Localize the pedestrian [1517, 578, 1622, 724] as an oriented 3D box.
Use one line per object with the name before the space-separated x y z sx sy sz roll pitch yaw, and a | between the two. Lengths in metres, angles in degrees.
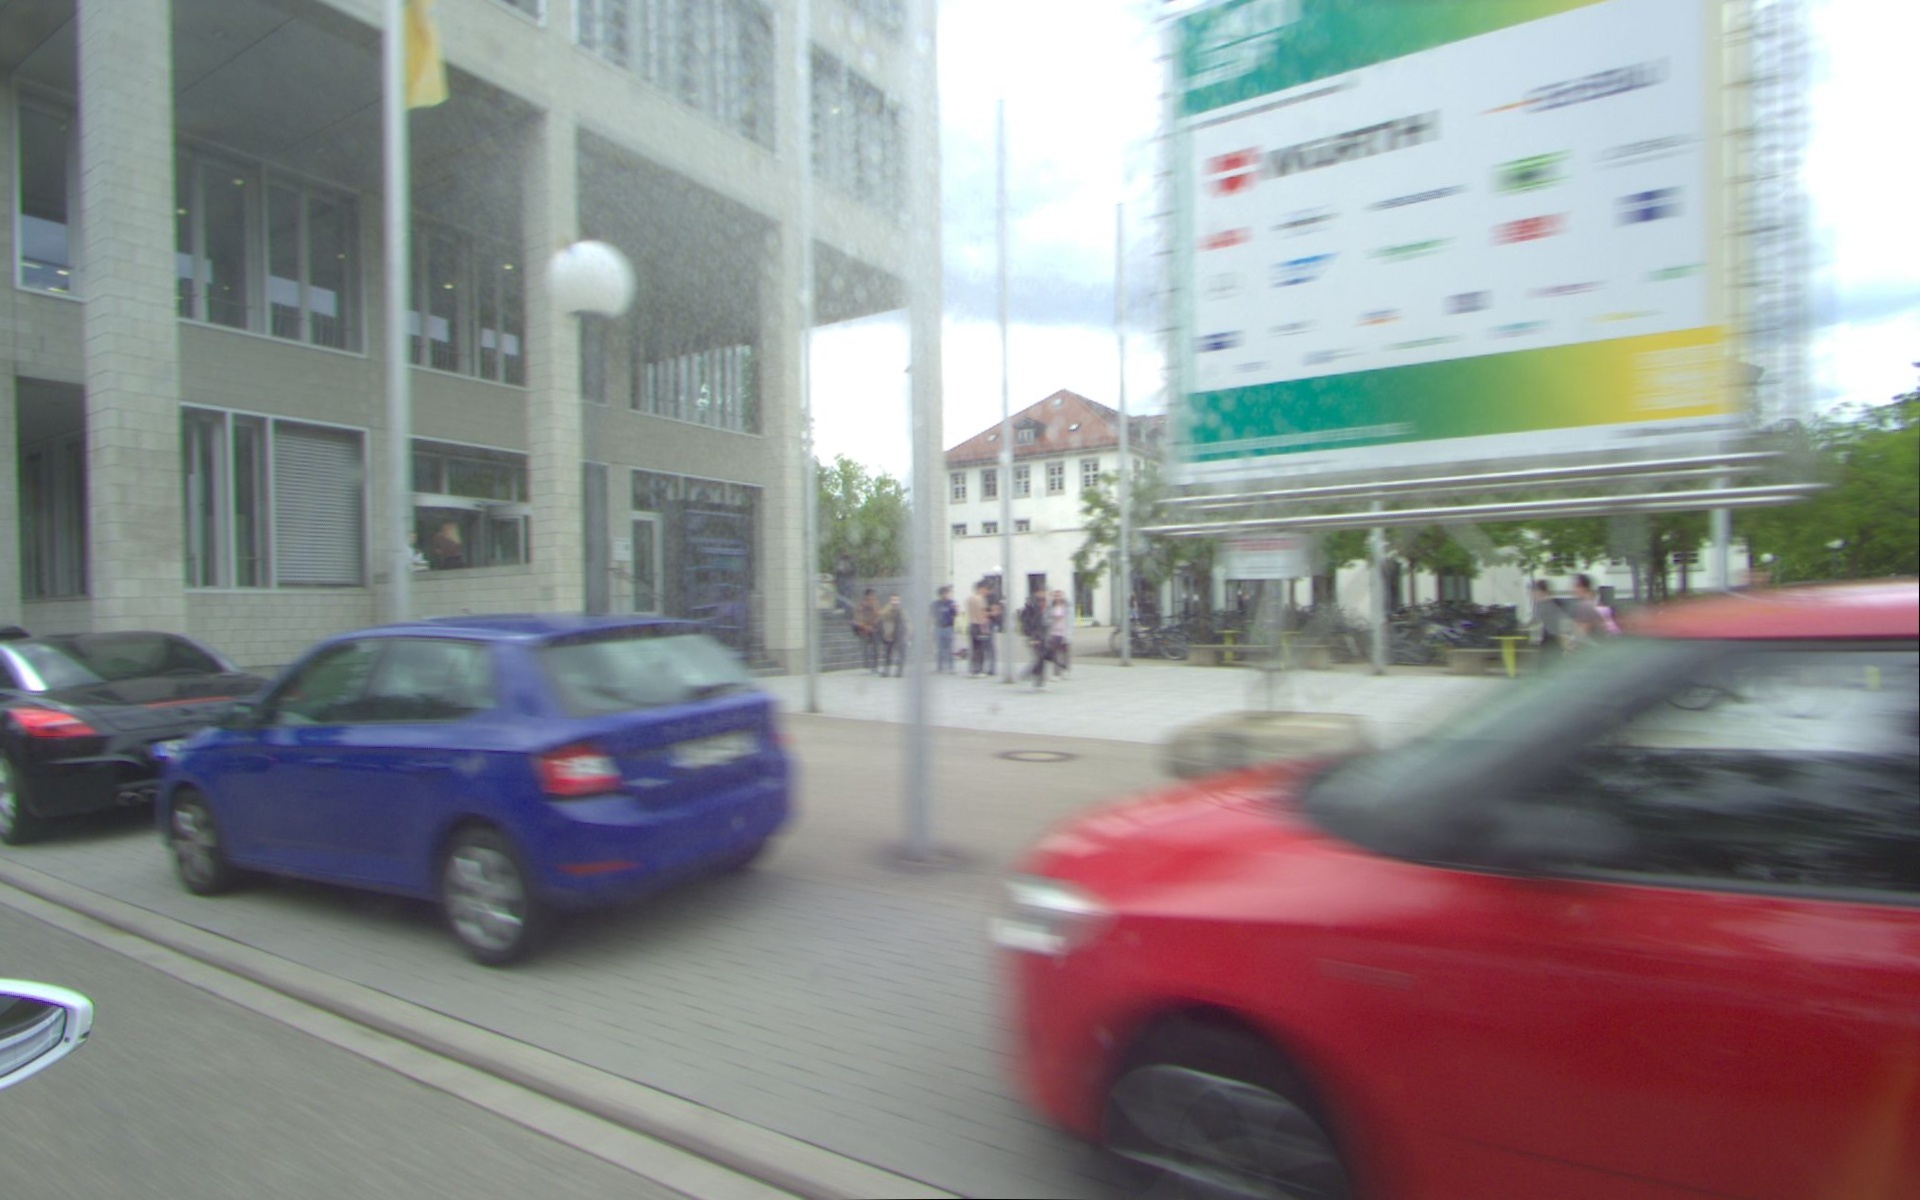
pedestrian | 7.539 0.599 12.403 0.894 1.736 0.691 -1 3 -23

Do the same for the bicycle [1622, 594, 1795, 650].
bicycle | 16.708 0.492 22.481 3.065 1.185 0.743 -1 0 34

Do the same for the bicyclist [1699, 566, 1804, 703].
bicyclist | 10.121 0.430 12.812 0.865 1.662 0.862 0 0 -36

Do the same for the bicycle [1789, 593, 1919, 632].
bicycle | 28.253 0.407 31.468 3.352 1.185 1.048 -1 -1 38

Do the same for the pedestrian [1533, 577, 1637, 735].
pedestrian | 7.092 0.614 11.374 0.769 1.735 0.646 0 1 -22

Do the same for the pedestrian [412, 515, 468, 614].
pedestrian | -9.216 -0.608 17.732 0.796 1.680 0.627 2 0 -33

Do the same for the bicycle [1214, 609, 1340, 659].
bicycle | 8.356 0.880 26.519 3.064 1.185 0.743 2 0 34

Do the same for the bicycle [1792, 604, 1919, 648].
bicycle | 26.915 0.774 29.693 3.351 1.185 1.048 2 0 38

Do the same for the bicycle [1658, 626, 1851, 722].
bicycle | 10.126 0.906 12.821 0.865 1.107 1.788 0 0 -36

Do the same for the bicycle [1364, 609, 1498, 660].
bicycle | 12.283 0.871 26.178 3.064 1.185 0.743 2 0 34

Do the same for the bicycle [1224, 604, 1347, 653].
bicycle | 8.793 0.752 27.174 3.064 1.185 0.743 2 0 34

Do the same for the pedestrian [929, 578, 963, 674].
pedestrian | -0.296 0.523 20.267 0.592 1.889 0.779 -2 0 -5

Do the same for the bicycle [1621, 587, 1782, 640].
bicycle | 17.920 0.317 24.328 3.064 1.185 0.743 2 0 34

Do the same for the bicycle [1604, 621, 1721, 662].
bicycle | 22.795 1.322 32.590 3.064 1.185 0.743 2 0 34

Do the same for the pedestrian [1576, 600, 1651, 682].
pedestrian | 11.808 0.730 18.114 0.952 1.439 0.850 -1 0 21

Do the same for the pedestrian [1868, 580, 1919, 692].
pedestrian | 15.178 0.546 15.812 0.951 1.727 0.851 -1 1 17

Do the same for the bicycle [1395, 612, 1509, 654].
bicycle | 15.168 1.003 30.935 3.063 1.185 0.744 2 0 33

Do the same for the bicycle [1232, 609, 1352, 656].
bicycle | 9.197 0.885 27.843 3.064 1.185 0.743 2 0 34

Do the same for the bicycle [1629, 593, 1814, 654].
bicycle | 16.190 0.478 21.437 3.064 1.185 0.743 2 0 34

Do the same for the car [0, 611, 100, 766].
car | -11.207 0.904 10.639 4.454 1.463 1.814 -1 1 31

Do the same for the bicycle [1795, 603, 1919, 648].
bicycle | 26.182 0.743 28.720 3.351 1.185 1.048 2 0 38

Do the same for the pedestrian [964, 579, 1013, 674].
pedestrian | 0.564 0.522 19.807 0.724 1.808 0.720 3 1 19

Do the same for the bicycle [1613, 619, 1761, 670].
bicycle | 19.037 1.150 26.337 3.064 1.185 0.743 2 0 34

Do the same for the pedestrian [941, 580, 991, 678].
pedestrian | 0.111 0.540 18.962 0.724 1.808 0.763 -1 0 19

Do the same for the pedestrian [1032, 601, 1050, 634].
pedestrian | 4.074 0.873 50.154 0.656 1.662 0.659 -1 0 30

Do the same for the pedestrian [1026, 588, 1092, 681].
pedestrian | 1.820 0.622 18.510 0.730 1.662 0.922 1 0 -44

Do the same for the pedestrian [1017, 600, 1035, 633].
pedestrian | 3.333 0.853 50.658 0.684 1.662 0.659 -1 0 30

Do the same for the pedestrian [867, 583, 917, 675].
pedestrian | -1.303 0.556 19.306 0.595 1.738 0.775 -1 0 33

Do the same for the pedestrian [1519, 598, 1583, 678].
pedestrian | 10.835 0.692 18.371 0.754 1.431 0.673 -1 0 1

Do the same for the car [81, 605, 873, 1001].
car | -2.747 0.796 5.448 4.310 1.430 1.693 -1 0 29

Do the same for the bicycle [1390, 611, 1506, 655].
bicycle | 14.736 0.983 30.291 3.063 1.185 0.744 2 0 33

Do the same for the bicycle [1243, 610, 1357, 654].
bicycle | 10.002 0.924 29.530 3.064 1.185 0.743 2 0 34

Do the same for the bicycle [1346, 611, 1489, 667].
bicycle | 11.001 0.915 24.185 3.064 1.185 0.618 2 0 34

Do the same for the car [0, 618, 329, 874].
car | -7.128 0.927 8.070 4.356 1.461 1.844 1 0 33

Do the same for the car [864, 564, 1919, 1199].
car | 1.999 0.679 2.146 4.212 1.493 1.708 -1 2 32

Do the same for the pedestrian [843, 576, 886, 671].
pedestrian | -1.913 0.467 20.059 0.611 1.864 0.589 -1 -1 33

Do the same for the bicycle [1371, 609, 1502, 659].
bicycle | 12.729 0.891 26.816 3.064 1.185 0.743 2 0 34

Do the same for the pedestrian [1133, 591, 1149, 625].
pedestrian | 9.016 0.412 49.801 0.649 1.662 0.666 -1 0 0

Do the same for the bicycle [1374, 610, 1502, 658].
bicycle | 13.096 0.908 27.490 3.064 1.185 0.743 2 0 34

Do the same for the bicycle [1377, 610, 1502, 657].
bicycle | 13.458 0.925 28.186 3.064 1.185 0.743 2 0 34

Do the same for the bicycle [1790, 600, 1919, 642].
bicycle | 27.569 0.653 30.578 3.353 1.185 1.048 -3 -1 38

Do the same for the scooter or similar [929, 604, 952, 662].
scooter or similar | -0.481 0.815 25.262 0.397 1.387 1.492 2 0 5

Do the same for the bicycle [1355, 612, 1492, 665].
bicycle | 11.736 0.948 25.441 3.064 1.185 0.743 2 0 34

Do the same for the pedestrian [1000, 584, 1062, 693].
pedestrian | 1.138 0.609 15.999 0.695 1.691 0.753 -1 0 33

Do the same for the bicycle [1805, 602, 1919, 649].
bicycle | 25.470 0.710 27.520 3.351 1.185 1.048 2 0 38

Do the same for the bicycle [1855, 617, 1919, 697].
bicycle | 14.971 0.884 14.908 2.376 1.185 0.455 2 0 28

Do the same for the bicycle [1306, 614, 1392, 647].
bicycle | 15.484 1.184 39.925 3.064 1.185 0.743 2 0 34

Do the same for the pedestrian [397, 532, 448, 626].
pedestrian | -9.871 -0.373 18.383 0.625 1.680 0.799 1 1 -42
